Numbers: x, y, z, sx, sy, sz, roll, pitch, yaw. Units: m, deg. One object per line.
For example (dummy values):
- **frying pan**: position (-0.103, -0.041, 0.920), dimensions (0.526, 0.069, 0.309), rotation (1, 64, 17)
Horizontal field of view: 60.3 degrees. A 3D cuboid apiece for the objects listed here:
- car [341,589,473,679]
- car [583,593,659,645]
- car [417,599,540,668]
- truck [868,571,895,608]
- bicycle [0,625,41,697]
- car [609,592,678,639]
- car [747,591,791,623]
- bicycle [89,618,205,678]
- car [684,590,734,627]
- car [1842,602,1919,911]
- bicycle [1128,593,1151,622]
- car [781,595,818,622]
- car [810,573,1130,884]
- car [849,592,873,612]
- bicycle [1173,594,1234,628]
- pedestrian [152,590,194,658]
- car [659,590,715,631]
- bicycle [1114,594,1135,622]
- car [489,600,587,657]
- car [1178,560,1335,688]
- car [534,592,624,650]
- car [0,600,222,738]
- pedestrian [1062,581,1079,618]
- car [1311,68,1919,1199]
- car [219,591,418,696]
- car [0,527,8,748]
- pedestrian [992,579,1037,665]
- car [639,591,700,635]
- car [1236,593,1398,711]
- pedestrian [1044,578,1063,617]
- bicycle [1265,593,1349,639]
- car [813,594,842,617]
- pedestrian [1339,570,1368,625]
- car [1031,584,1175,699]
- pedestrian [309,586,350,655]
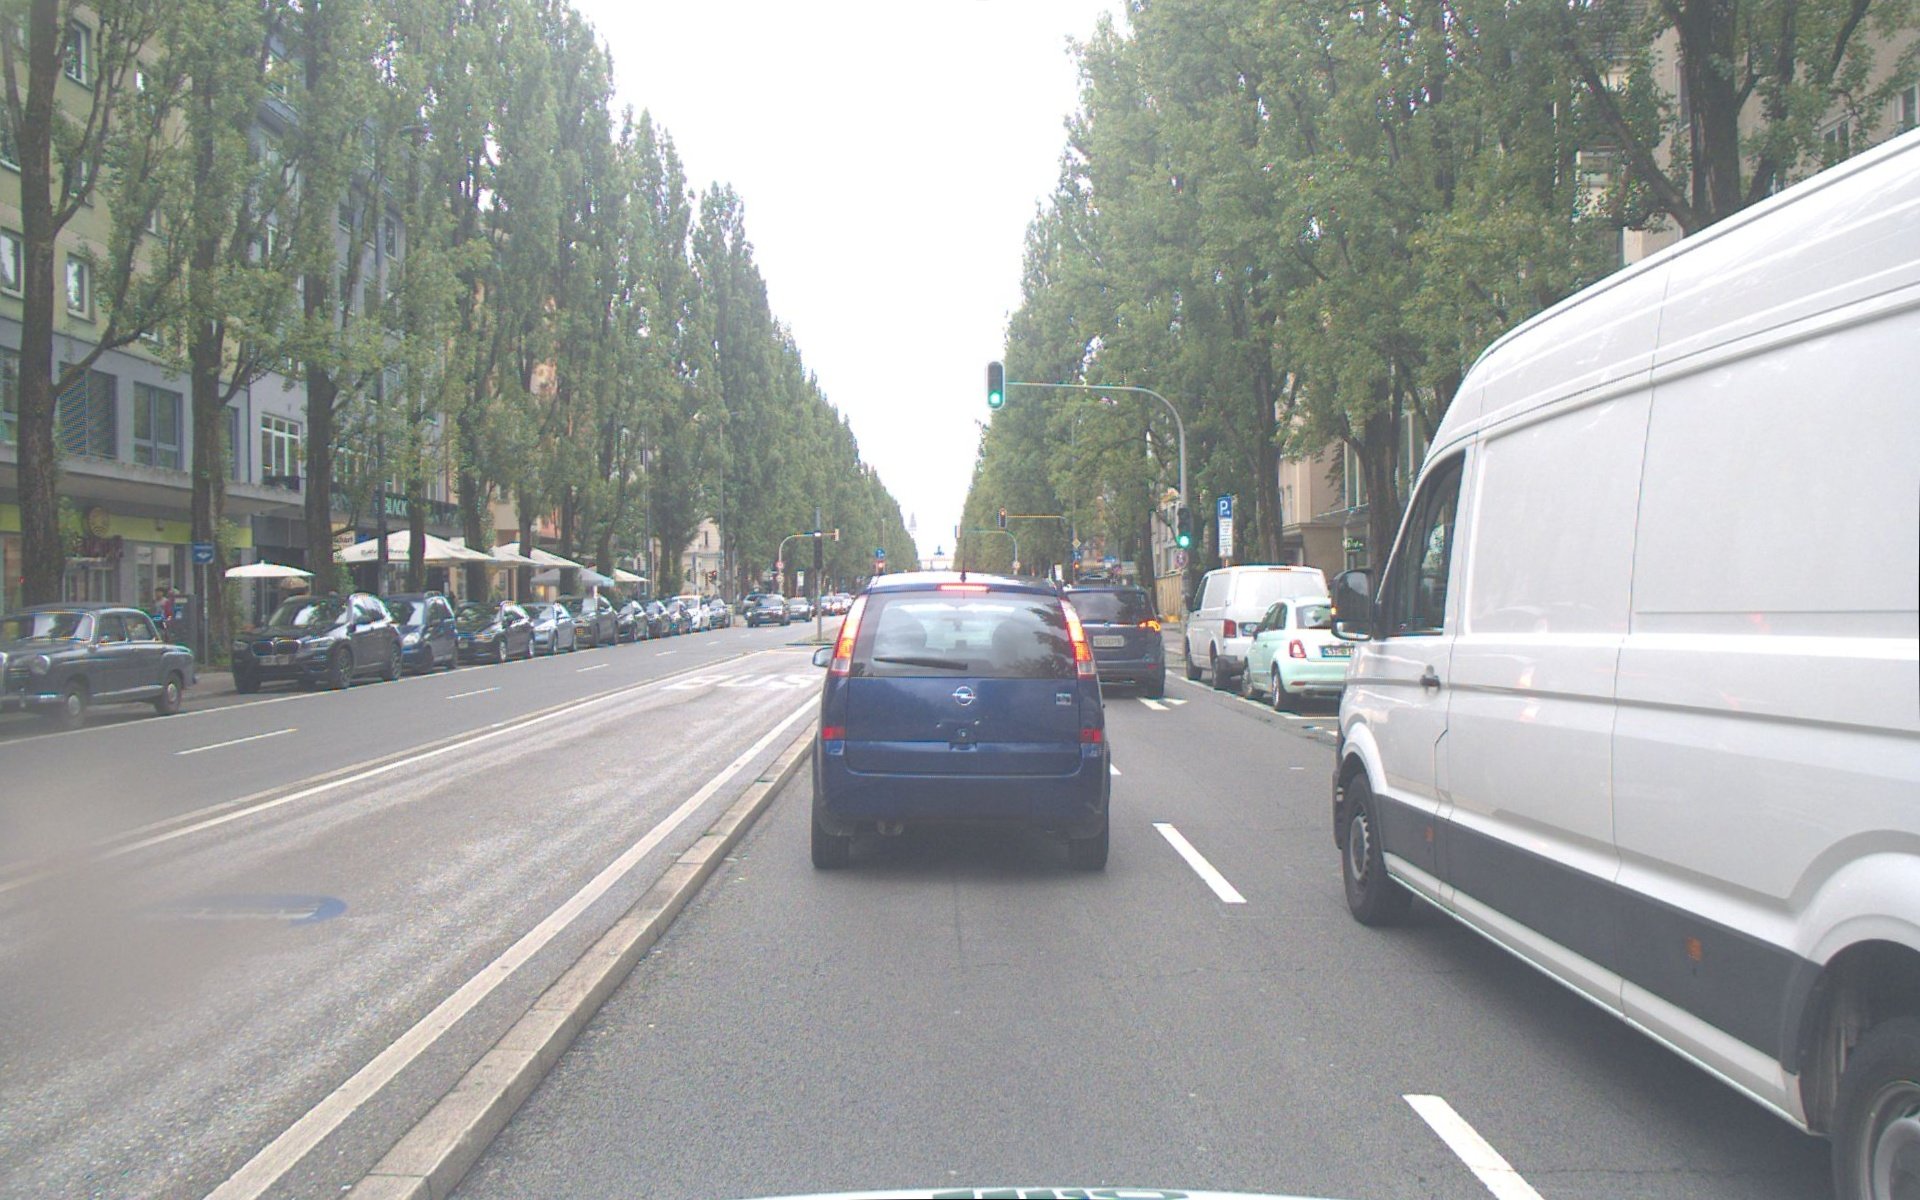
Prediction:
- **car**: position (-11.822, 0.682, 35.625), dimensions (1.675, 1.751, 3.919), rotation (-2, 0, -4)
- **car**: position (-11.961, 0.644, 58.629), dimensions (1.828, 1.694, 4.119), rotation (-2, 0, -1)
- **car**: position (-11.840, 0.793, 40.923), dimensions (1.762, 1.514, 4.349), rotation (-2, 0, -1)
- **truck**: position (-7.470, -0.968, 158.032), dimensions (2.334, 3.405, 7.109), rotation (-1, 0, -1)
- **bicycle**: position (-15.963, 0.964, 26.700), dimensions (1.830, 1.114, 0.719), rotation (2, 0, 2)
- **car**: position (-12.101, 0.562, 63.407), dimensions (1.828, 1.694, 4.119), rotation (-2, 0, -1)
- **car**: position (-9.581, 0.319, 83.165), dimensions (1.663, 1.488, 4.712), rotation (-2, 0, -1)
- **bicycle**: position (-16.195, 0.958, 32.996), dimensions (1.909, 1.114, 0.718), rotation (2, 0, -7)
- **car**: position (-12.321, 0.413, 81.467), dimensions (1.828, 1.694, 4.119), rotation (-2, 0, -1)
- **car**: position (5.377, 0.733, 6.108), dimensions (1.676, 1.418, 4.339), rotation (0, 0, -5)
- **bicycle**: position (8.530, 0.354, 78.816), dimensions (0.757, 1.372, 2.449), rotation (-1, 0, -1)
- **car**: position (-9.306, 0.462, 96.096), dimensions (1.710, 1.459, 4.129), rotation (-2, 0, -1)
- **car**: position (0.035, 0.650, 10.495), dimensions (1.637, 1.596, 4.000), rotation (0, 0, -1)
- **car**: position (-7.708, 0.144, 128.474), dimensions (1.699, 1.491, 3.365), rotation (-1, 0, -1)
- **bicycle**: position (9.173, 0.417, 62.427), dimensions (2.182, 1.225, 0.626), rotation (-1, 0, -3)
- **pedestrian**: position (-20.163, 0.621, 42.384), dimensions (0.740, 1.715, 0.675), rotation (-1, -1, 0)
- **car**: position (-12.221, 0.456, 74.193), dimensions (1.828, 1.694, 4.119), rotation (-2, 0, -1)
- **bicycle**: position (8.459, 0.403, 85.035), dimensions (0.757, 1.372, 2.449), rotation (-1, 0, -1)
- **car**: position (-11.803, 0.768, 46.512), dimensions (1.698, 1.450, 4.143), rotation (-2, 0, -1)
- **car**: position (4.923, 0.358, 28.097), dimensions (1.751, 1.980, 4.730), rotation (0, 0, -1)
- **car**: position (-11.964, 0.623, 52.176), dimensions (1.828, 1.694, 4.400), rotation (-2, 0, -1)
- **car**: position (-11.688, 0.845, 21.908), dimensions (1.828, 1.579, 4.413), rotation (-2, 0, -1)
- **pedestrian**: position (5.662, -0.017, 84.852), dimensions (0.625, 1.859, 0.885), rotation (1, 0, -11)
- **car**: position (2.873, 0.212, 5.292), dimensions (2.021, 2.536, 6.729), rotation (0, 0, 0)
- **car**: position (-11.593, 0.729, 30.239), dimensions (1.828, 1.693, 4.610), rotation (-2, 0, -1)
- **car**: position (-11.507, 0.375, 14.811), dimensions (1.965, 2.612, 6.911), rotation (-2, 0, -1)
- **pedestrian**: position (1.102, 0.446, 33.617), dimensions (0.843, 1.714, 0.626), rotation (-1, 0, -4)
- **car**: position (-12.077, 0.521, 68.934), dimensions (1.828, 1.694, 4.119), rotation (-2, 0, -1)
- **car**: position (4.893, 0.661, 23.062), dimensions (1.509, 1.518, 3.523), rotation (0, 0, 0)
- **pedestrian**: position (4.550, -0.106, 80.452), dimensions (0.707, 1.859, 0.885), rotation (1, 0, -11)
- **bicycle**: position (9.693, 0.446, 46.246), dimensions (2.182, 1.225, 0.626), rotation (-1, 0, -3)
- **car**: position (-9.953, 0.397, 124.386), dimensions (1.828, 1.695, 4.119), rotation (-1, 0, -1)
- **pedestrian**: position (12.587, -0.073, 52.907), dimensions (0.660, 1.715, 0.758), rotation (-1, -1, -5)
- **car**: position (2.139, 0.589, 25.755), dimensions (1.858, 1.650, 4.000), rotation (0, 0, -1)
- **pedestrian**: position (-15.962, 0.508, 41.867), dimensions (0.740, 1.715, 0.675), rotation (-1, -1, 0)
